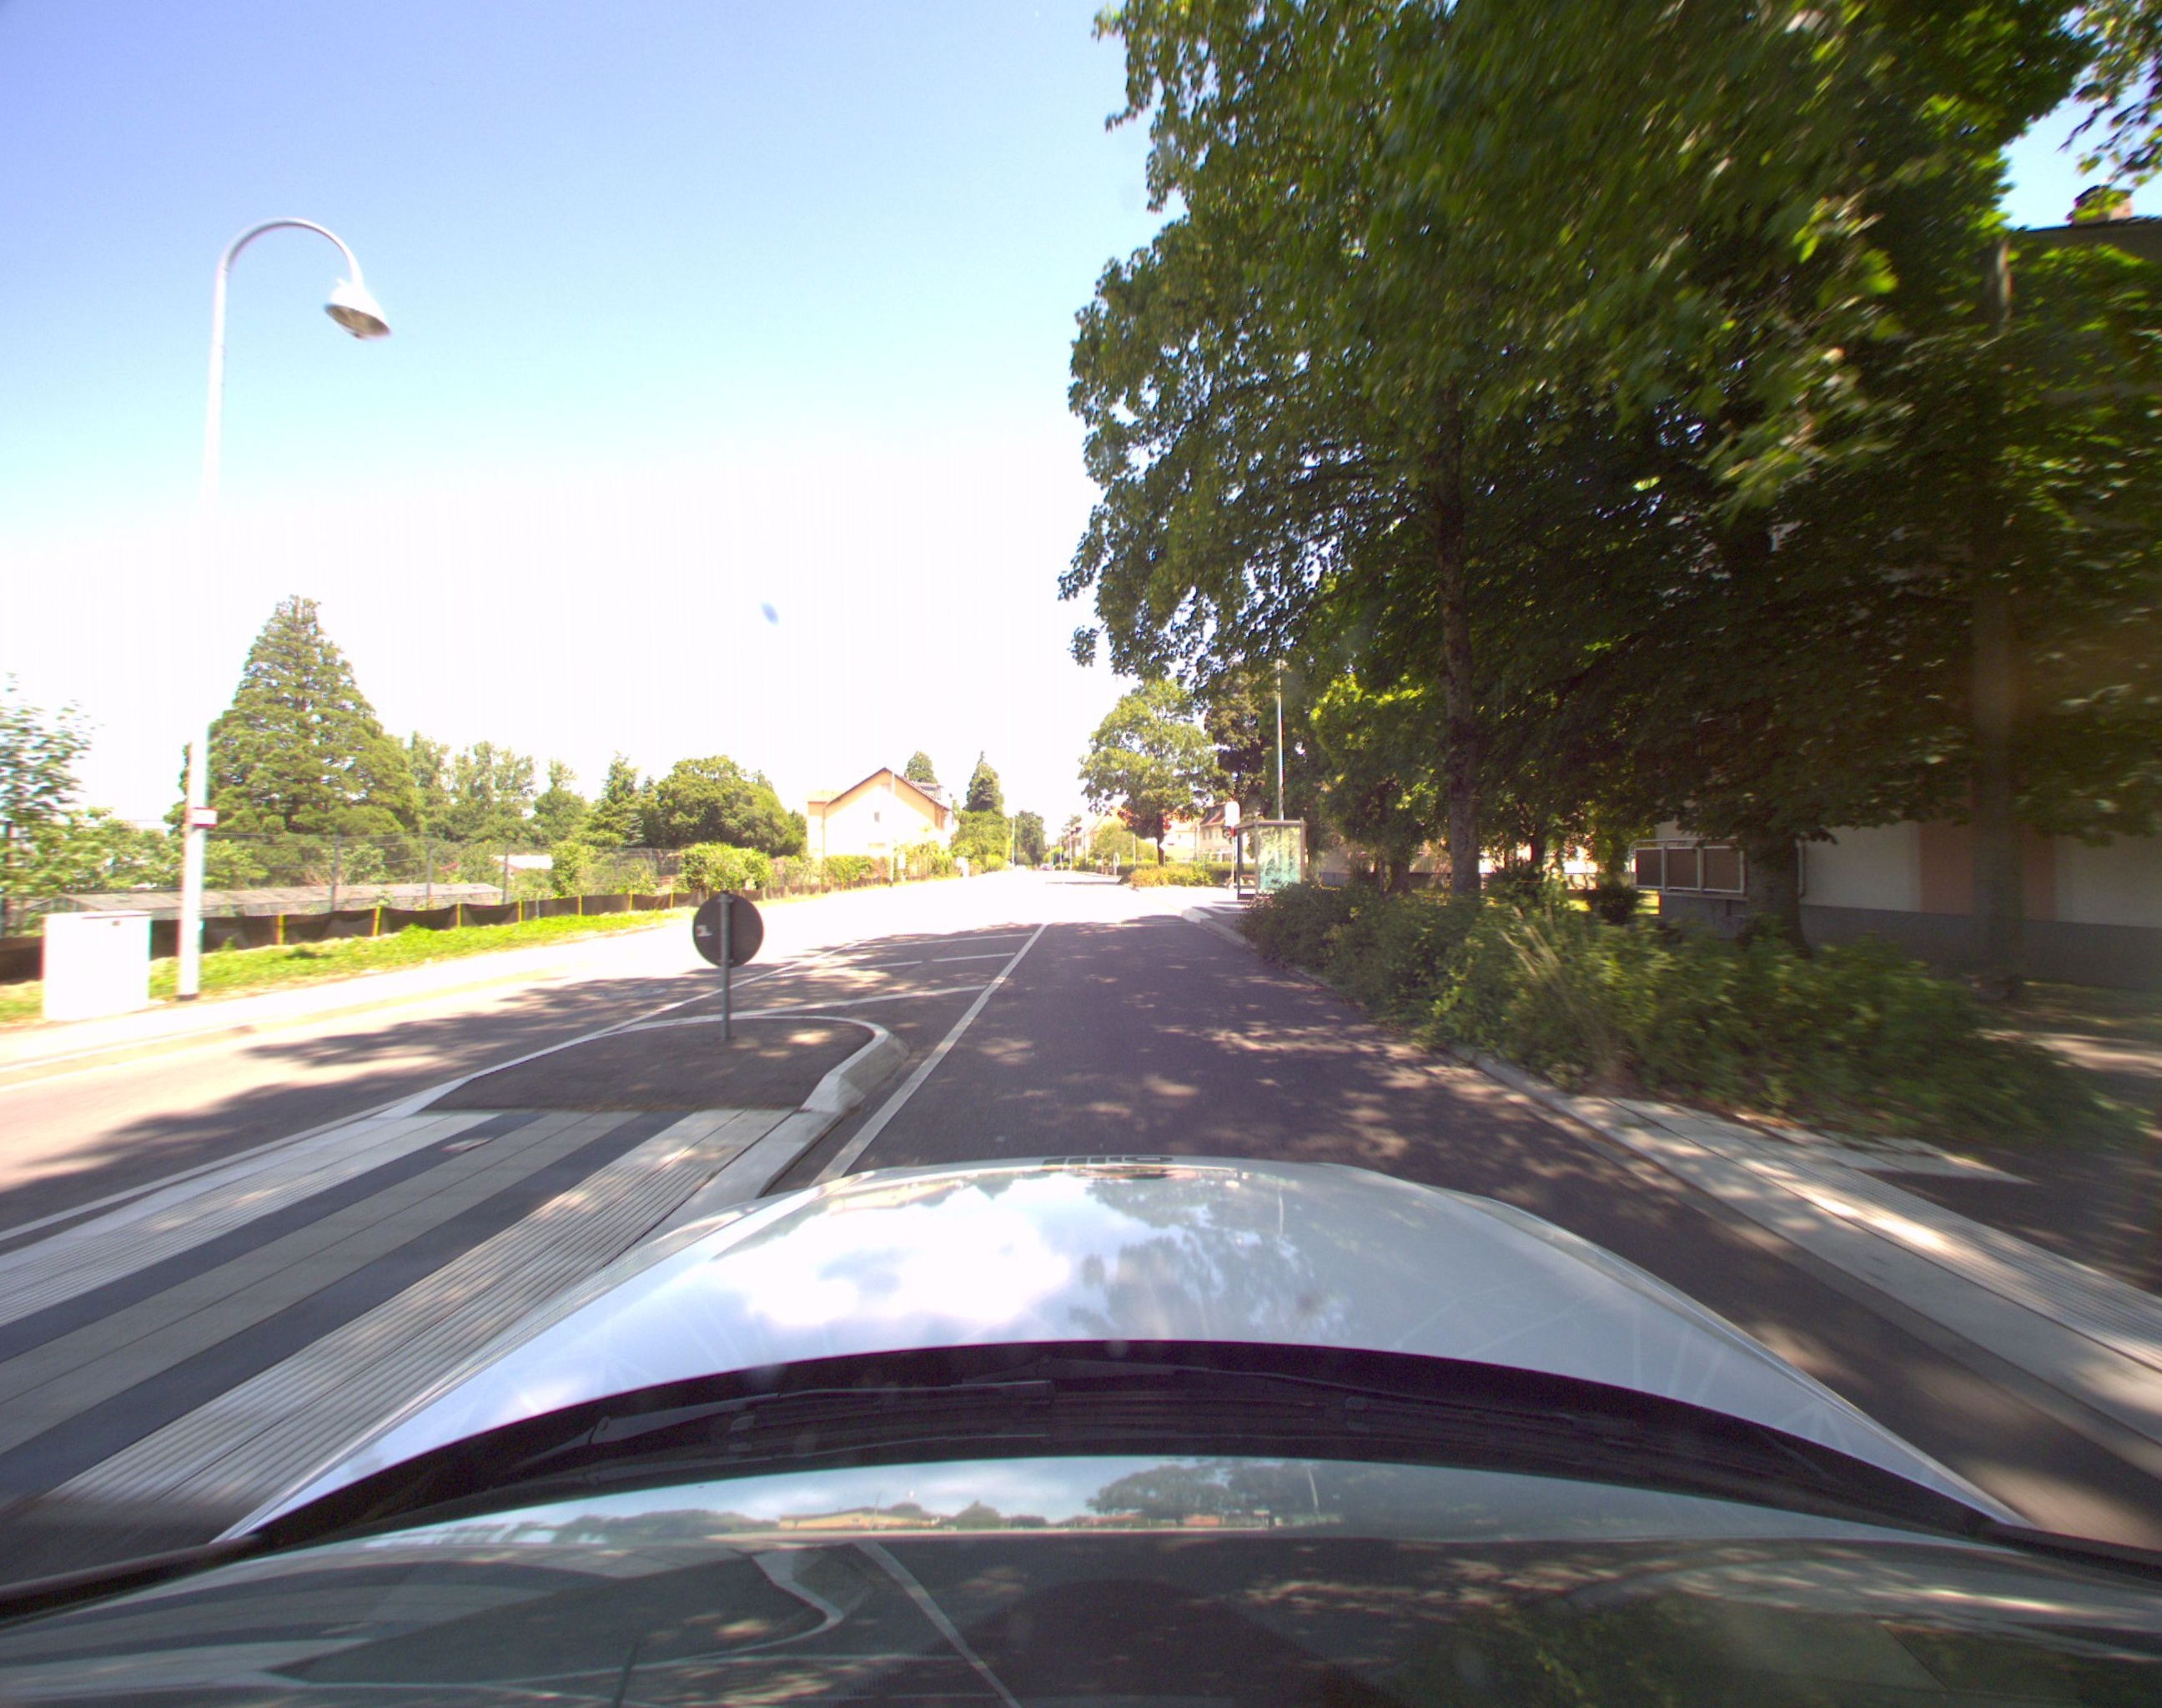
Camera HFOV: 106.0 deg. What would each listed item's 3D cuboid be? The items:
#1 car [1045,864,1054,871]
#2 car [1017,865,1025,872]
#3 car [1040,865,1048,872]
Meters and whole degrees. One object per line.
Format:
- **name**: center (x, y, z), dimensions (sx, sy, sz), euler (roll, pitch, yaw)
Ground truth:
- **car**: center (-6.761, 2.947, 176.207), dimensions (1.690, 1.419, 4.541), euler (0, -2, -5)
- **car**: center (-12.355, 2.992, 167.842), dimensions (1.677, 1.372, 4.201), euler (-2, 0, -3)
- **car**: center (-8.454, 3.320, 185.360), dimensions (1.690, 1.419, 4.541), euler (0, -2, -5)
